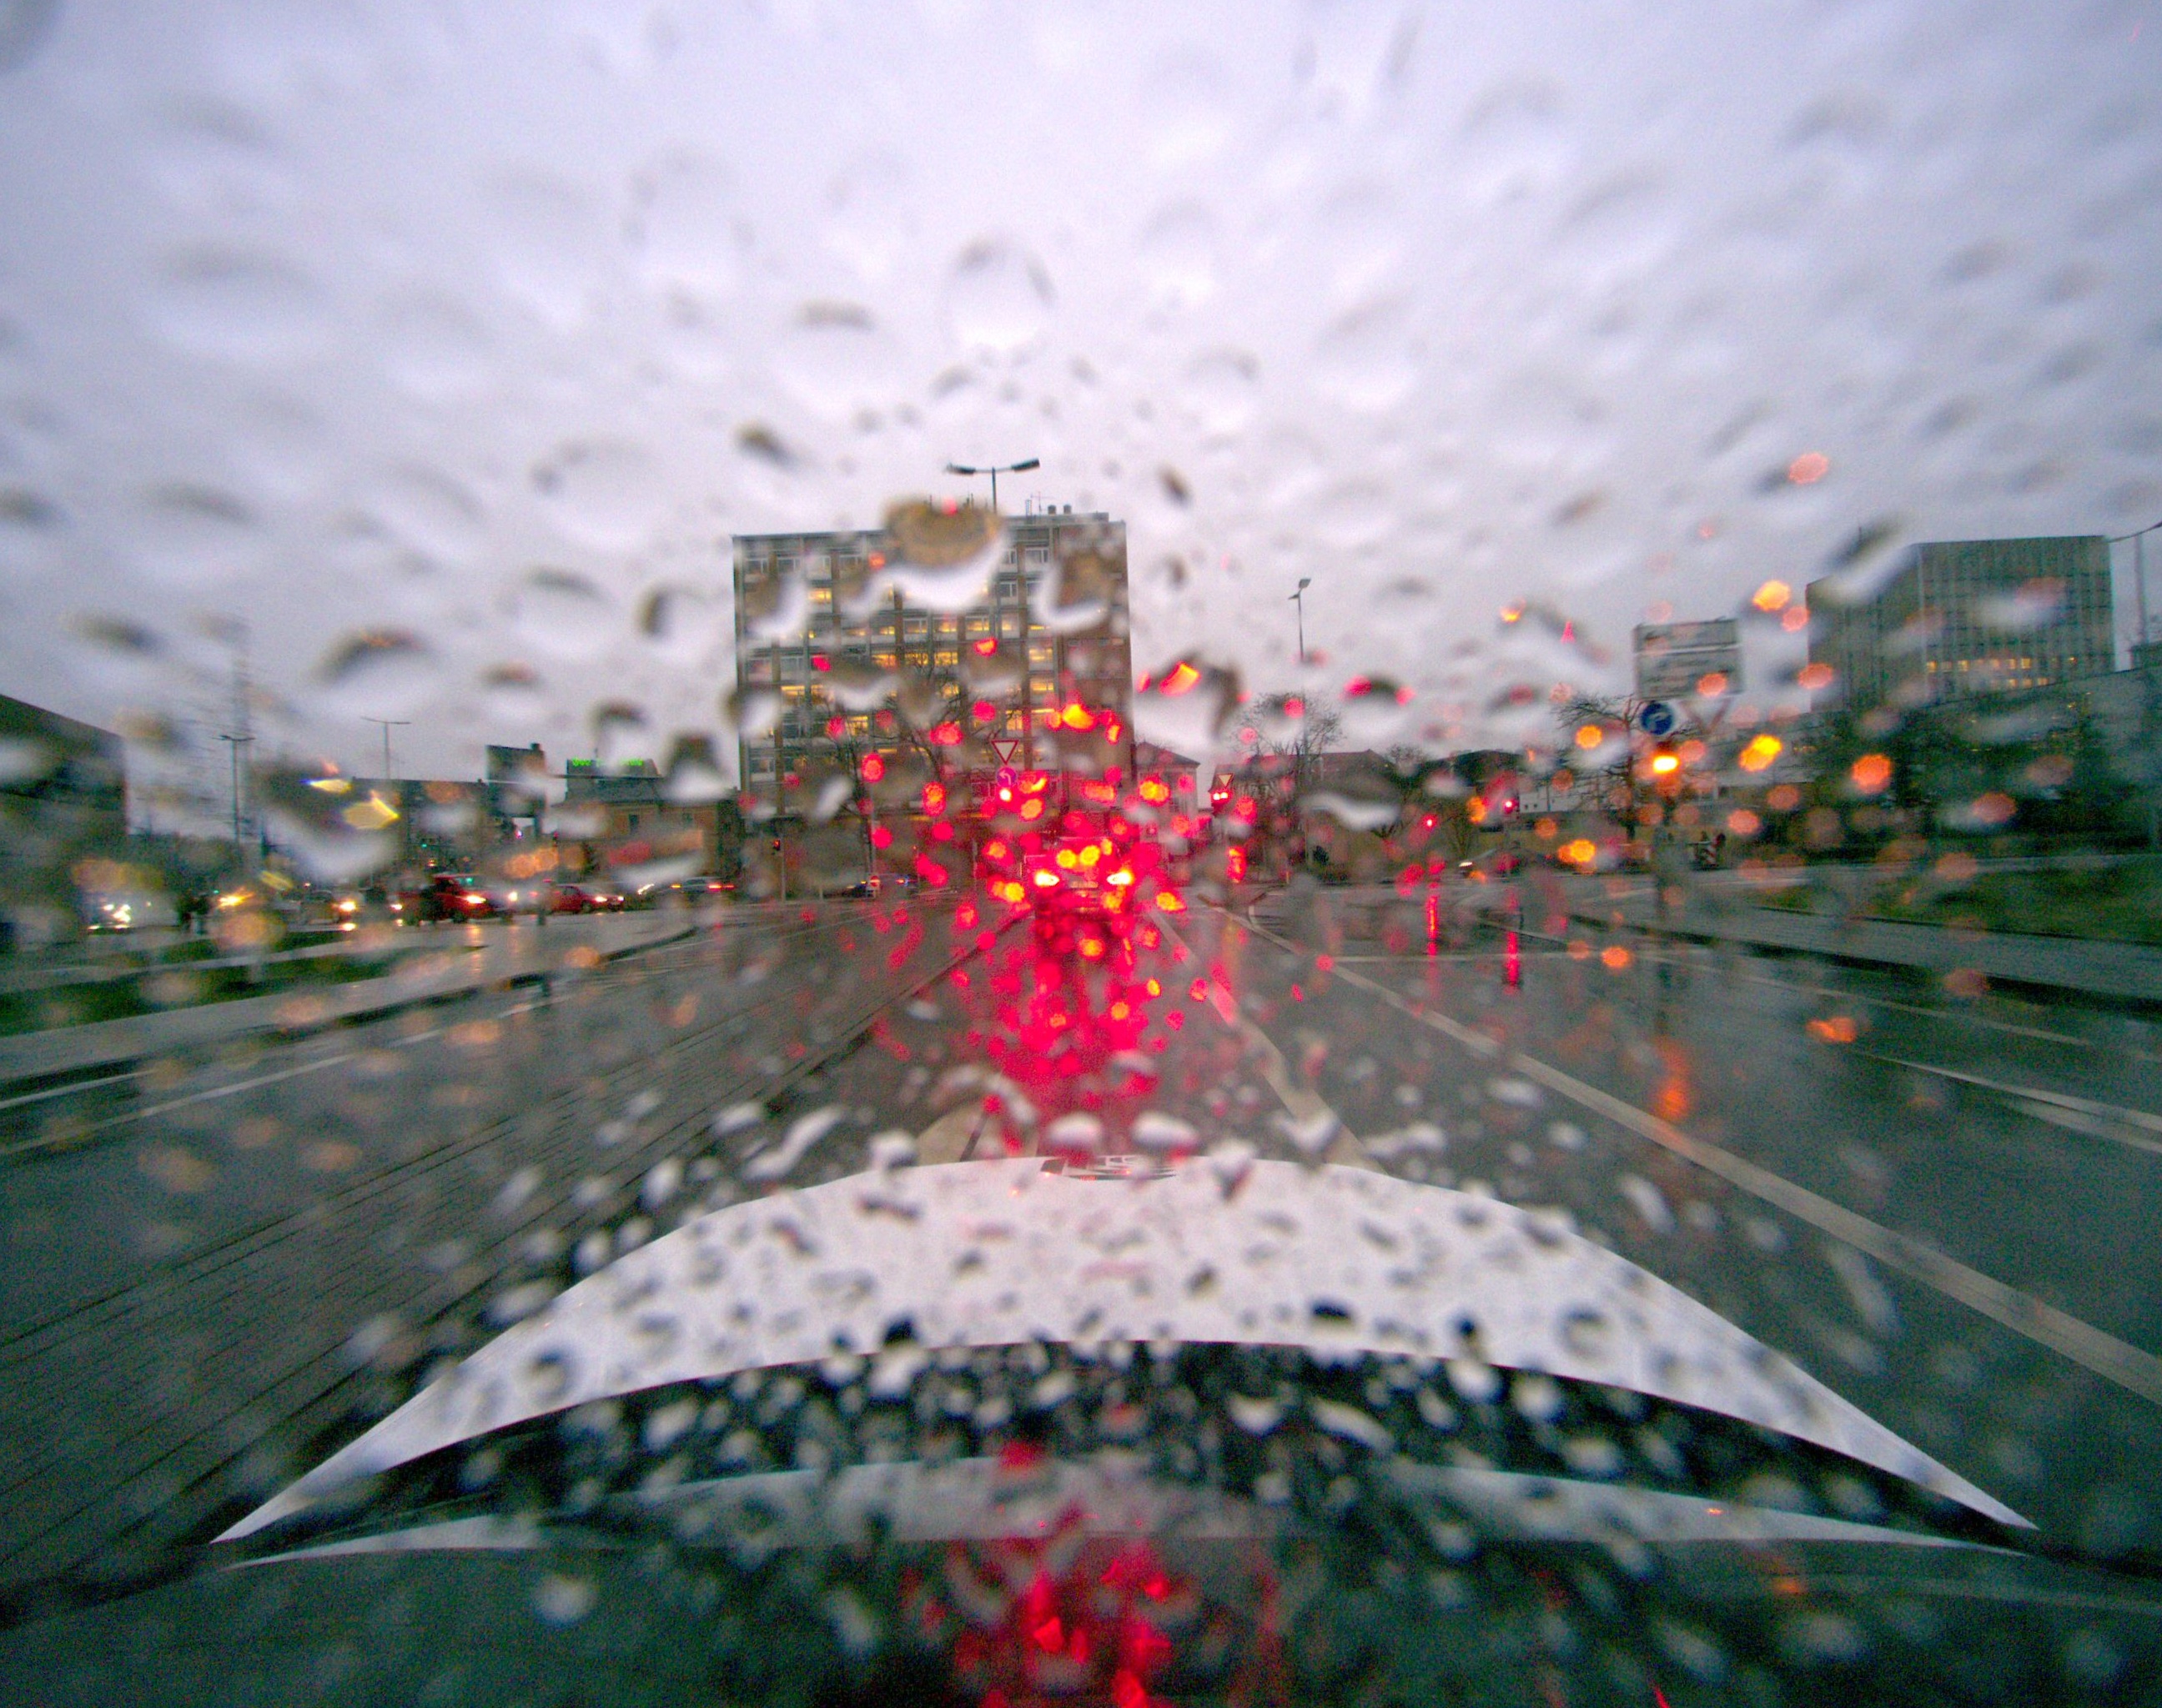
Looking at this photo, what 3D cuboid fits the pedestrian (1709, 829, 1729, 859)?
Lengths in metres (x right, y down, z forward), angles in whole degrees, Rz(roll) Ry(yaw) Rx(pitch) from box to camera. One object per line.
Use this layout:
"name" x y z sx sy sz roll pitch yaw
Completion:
"pedestrian" 37.799 -0.586 48.255 0.620 1.725 0.762 -1 -2 8

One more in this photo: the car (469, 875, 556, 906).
"car" -38.388 2.449 54.987 5.114 1.913 2.008 -1 -1 17

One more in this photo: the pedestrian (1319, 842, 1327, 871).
"pedestrian" 15.279 0.156 51.348 0.434 1.839 0.462 -2 -2 20

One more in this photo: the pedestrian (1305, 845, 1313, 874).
"pedestrian" 14.415 0.370 51.421 0.434 1.839 0.462 -1 -2 19

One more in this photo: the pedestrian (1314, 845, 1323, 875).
"pedestrian" 14.694 0.376 50.386 0.454 1.839 0.441 -1 -2 19

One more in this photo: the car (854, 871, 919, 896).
"car" -11.323 1.736 47.516 3.384 1.398 1.475 -1 -2 16

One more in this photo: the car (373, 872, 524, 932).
"car" -25.162 1.889 32.422 4.981 2.282 2.268 -1 -2 18

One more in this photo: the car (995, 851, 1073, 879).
"car" -3.513 0.835 60.941 5.517 2.024 2.004 -1 -2 7

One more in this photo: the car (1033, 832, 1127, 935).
"car" 0.040 0.512 16.452 1.641 1.819 4.001 -1 0 1

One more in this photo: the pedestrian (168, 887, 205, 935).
"pedestrian" -34.989 2.219 31.850 0.687 1.815 0.683 -1 -2 15

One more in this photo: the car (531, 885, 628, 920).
"car" -24.909 2.412 40.505 4.041 1.684 1.766 -1 -2 14

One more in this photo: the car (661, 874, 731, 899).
"car" -23.856 2.013 50.528 3.887 1.486 1.475 -1 -2 15

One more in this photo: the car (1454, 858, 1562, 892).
"car" 21.061 1.031 40.386 4.401 1.580 1.975 -1 -2 14

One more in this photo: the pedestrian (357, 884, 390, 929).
"pedestrian" -26.766 1.972 30.807 0.456 1.697 0.801 -2 -2 25

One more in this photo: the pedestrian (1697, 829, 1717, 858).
"pedestrian" 38.090 -0.608 49.567 0.620 1.725 0.762 -1 -2 8

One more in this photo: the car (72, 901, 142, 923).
"car" -67.470 4.043 56.444 3.611 1.447 1.610 -1 -2 13

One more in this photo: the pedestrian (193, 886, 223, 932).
"pedestrian" -34.803 2.184 32.468 0.605 1.772 0.587 -1 -2 15

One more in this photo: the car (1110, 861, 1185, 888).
"car" 3.553 1.098 43.523 3.763 1.398 1.570 -1 -2 13
